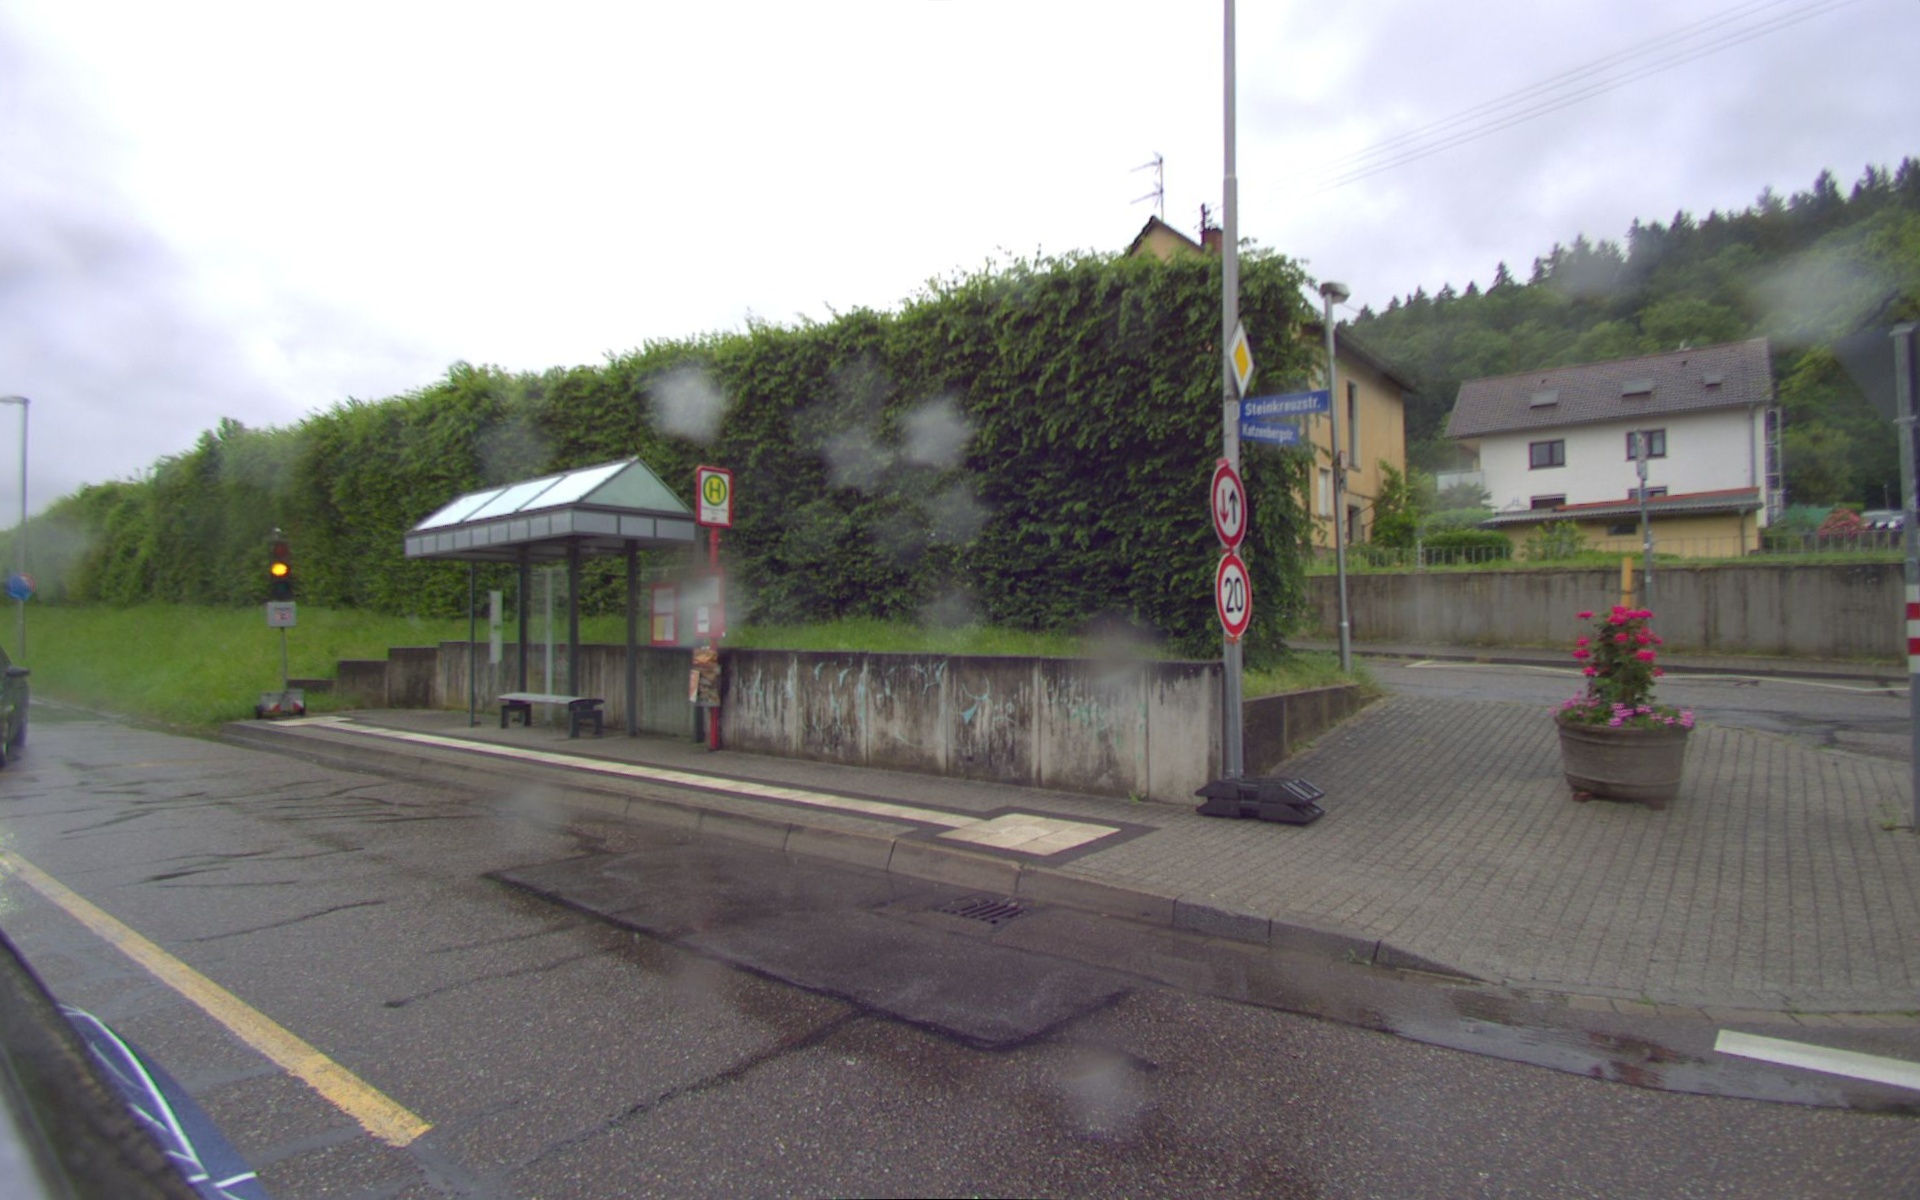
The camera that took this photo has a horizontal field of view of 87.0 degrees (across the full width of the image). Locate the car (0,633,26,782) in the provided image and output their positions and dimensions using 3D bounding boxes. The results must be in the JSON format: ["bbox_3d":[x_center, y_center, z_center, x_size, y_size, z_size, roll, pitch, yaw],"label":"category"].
[{"bbox_3d":[-11.791,1.108,11.310,1.824,1.463,4.538,3,-3,-41],"label":"car"}]
